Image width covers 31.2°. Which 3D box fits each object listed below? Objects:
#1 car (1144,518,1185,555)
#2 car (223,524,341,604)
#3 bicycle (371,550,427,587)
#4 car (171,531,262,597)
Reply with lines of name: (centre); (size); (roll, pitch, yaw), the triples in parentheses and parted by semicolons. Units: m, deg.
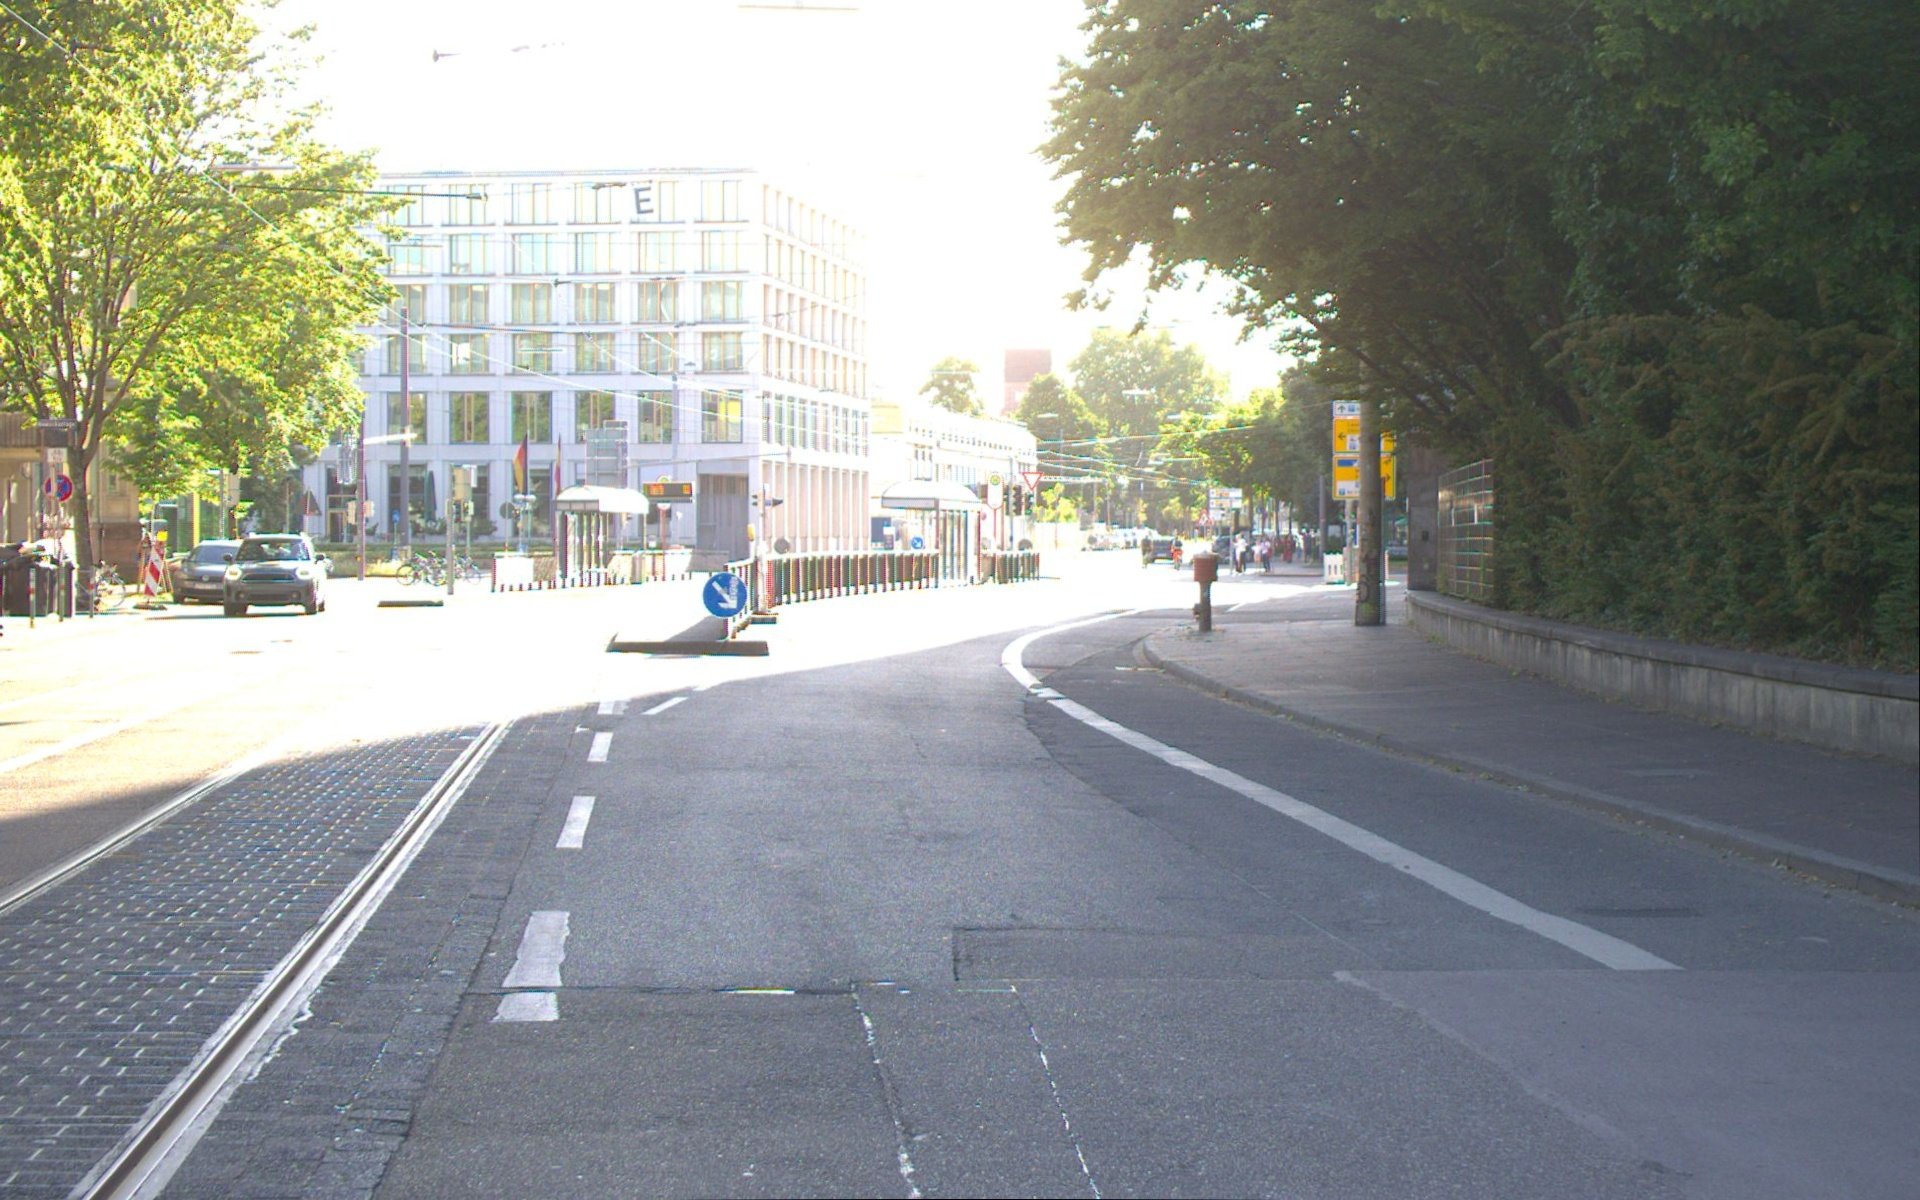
car: (11.400, -3.562, 191.560); (1.994, 2.006, 3.999); (0, 2, 8)
car: (-13.388, -0.734, 68.059); (1.558, 1.525, 4.000); (0, 1, -1)
bicycle: (-18.785, -1.065, 115.164); (1.793, 1.219, 0.599); (-1, 1, -13)
car: (-17.490, -0.870, 81.039); (1.572, 1.485, 4.001); (0, 1, -5)
